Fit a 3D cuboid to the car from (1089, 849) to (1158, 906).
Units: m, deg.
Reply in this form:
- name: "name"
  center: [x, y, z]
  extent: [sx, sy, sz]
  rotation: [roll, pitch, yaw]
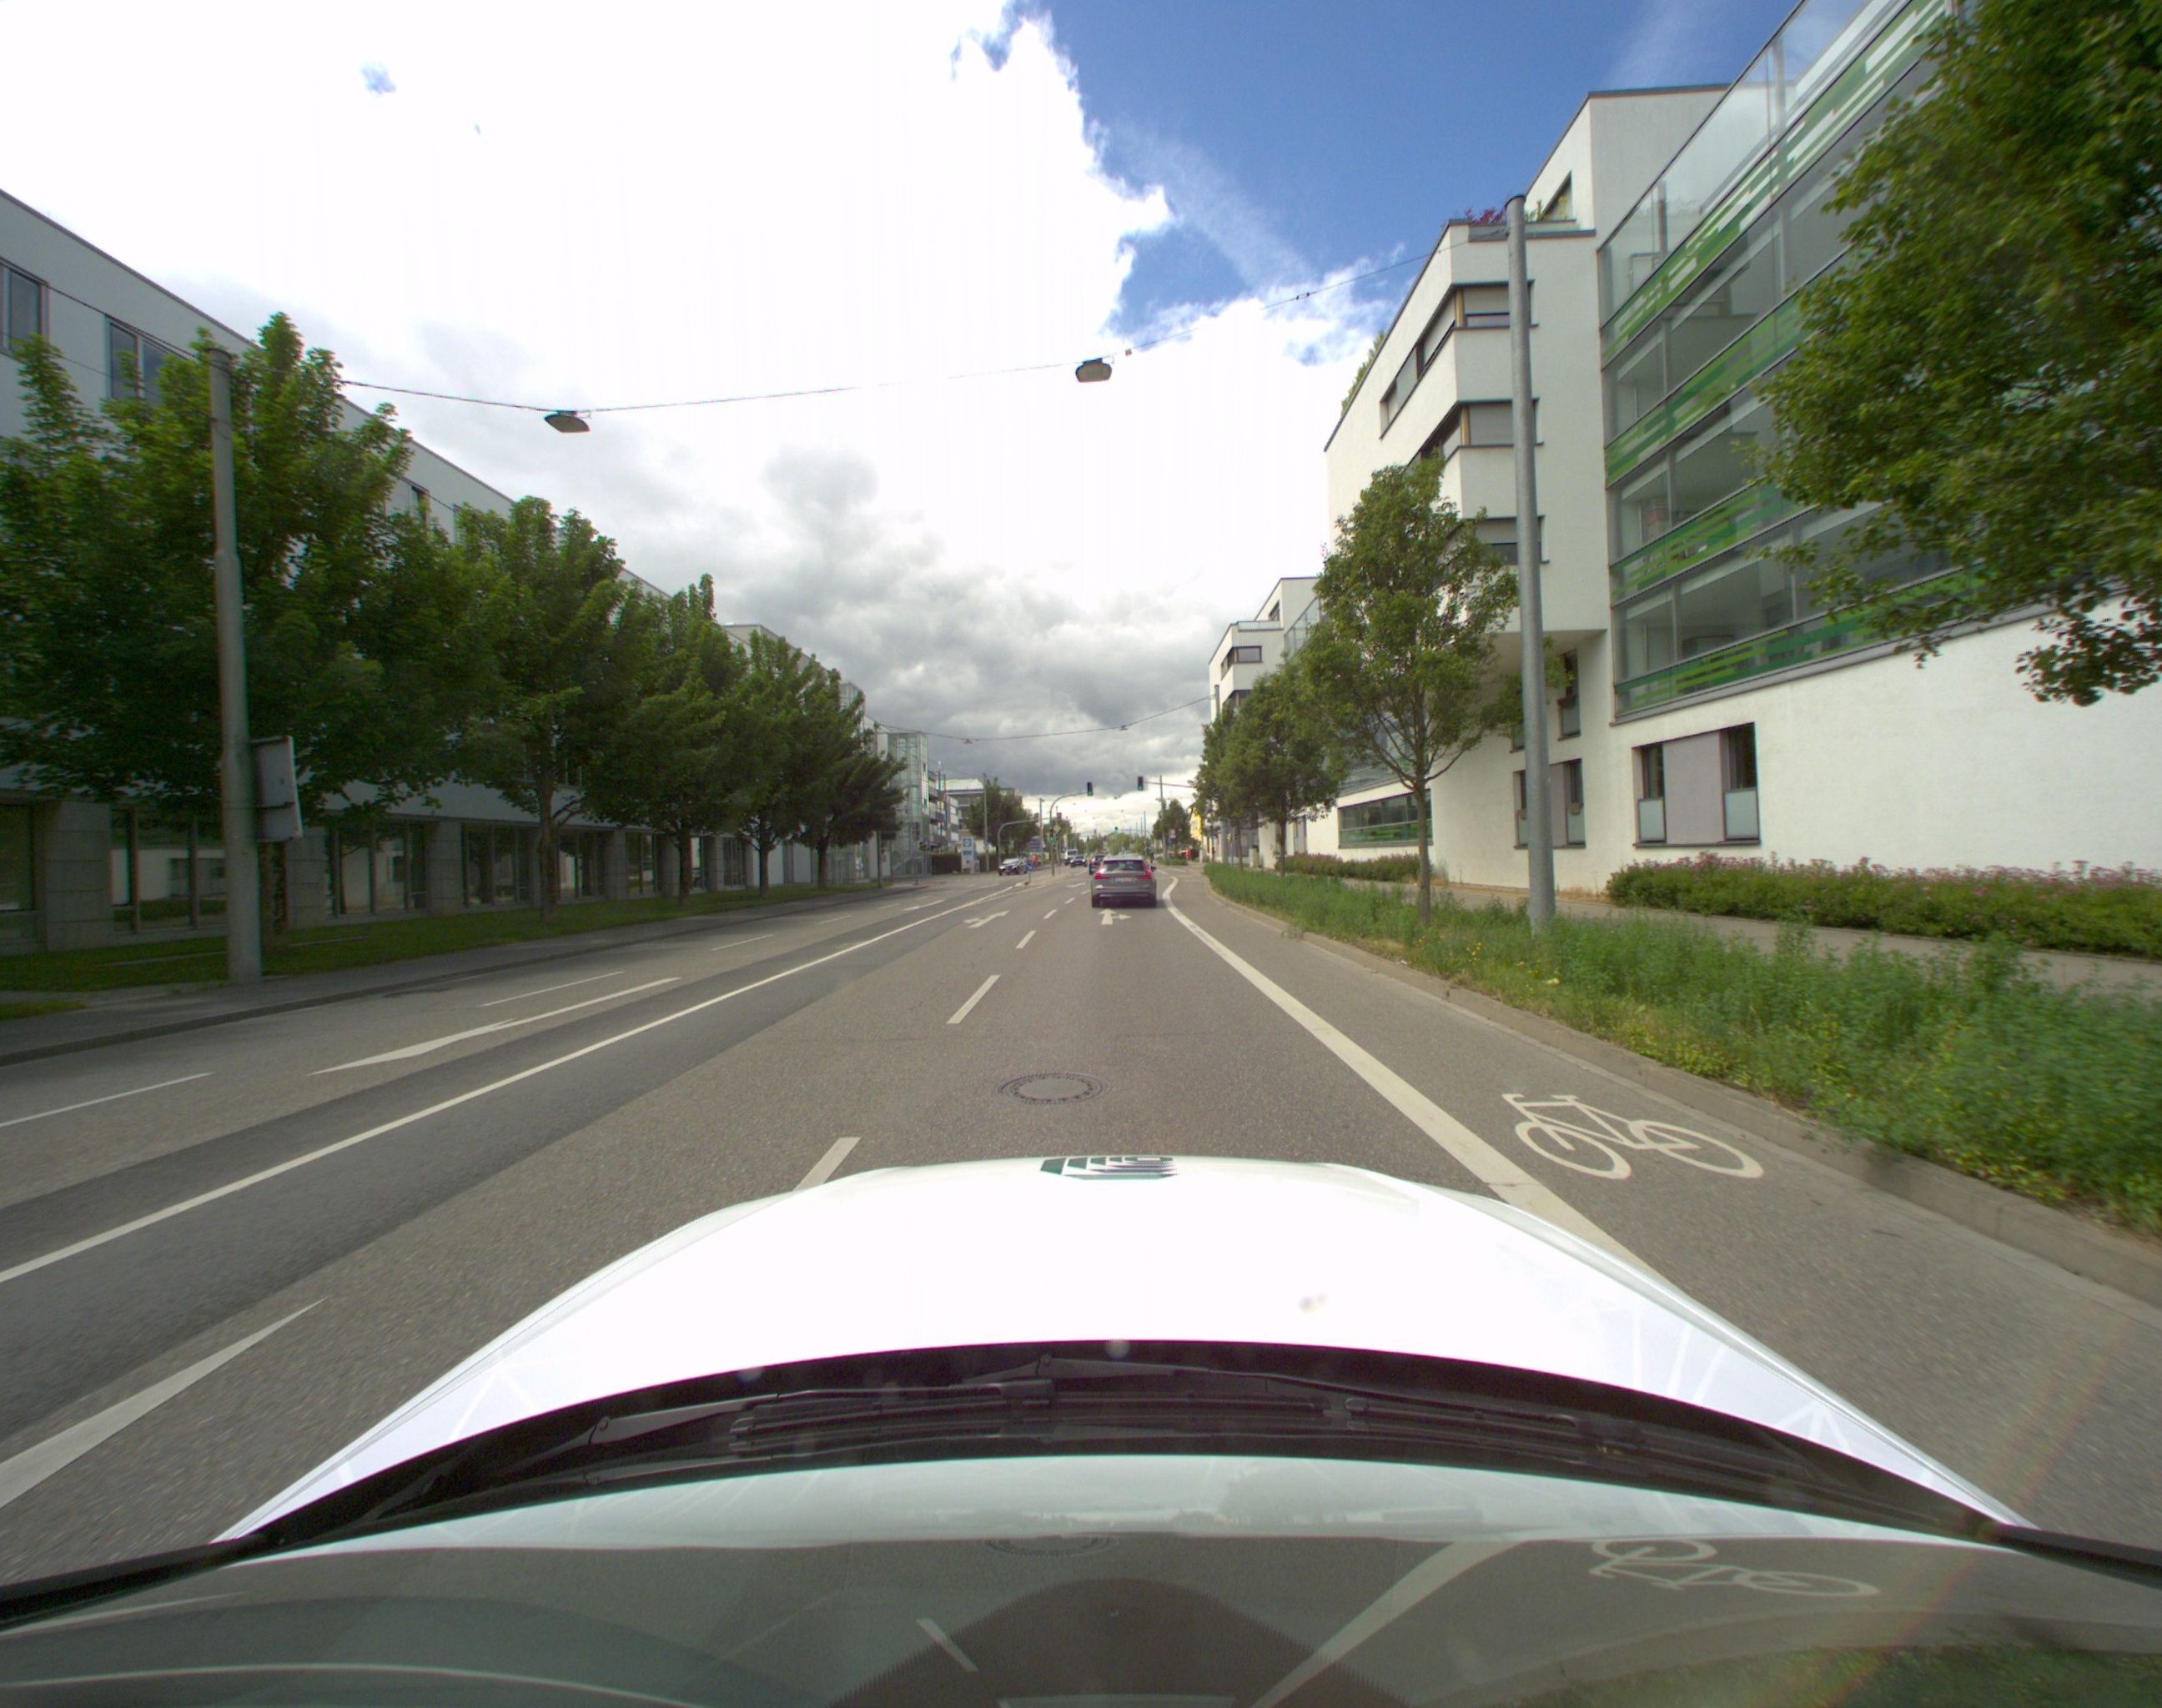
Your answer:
- name: "car"
  center: [1.316, 0.680, 24.357]
  extent: [1.887, 1.554, 4.005]
  rotation: [0, -1, 4]

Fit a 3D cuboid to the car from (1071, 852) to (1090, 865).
- name: "car"
  center: [-0.024, 0.586, 100.587]
  extent: [1.876, 1.552, 4.546]
  rotation: [-3, -1, 5]

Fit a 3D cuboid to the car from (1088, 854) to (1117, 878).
- name: "car"
  center: [1.544, 0.853, 59.469]
  extent: [1.987, 1.717, 4.000]
  rotation: [0, -1, 1]

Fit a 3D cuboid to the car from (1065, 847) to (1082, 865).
- name: "car"
  center: [-1.101, 0.320, 125.881]
  extent: [2.133, 2.471, 6.079]
  rotation: [-3, 0, 4]

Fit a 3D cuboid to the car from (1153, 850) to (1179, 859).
- name: "car"
  center: [15.695, 0.124, 150.980]
  extent: [4.678, 1.493, 2.047]
  rotation: [-1, 0, 2]

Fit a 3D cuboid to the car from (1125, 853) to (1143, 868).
- name: "car"
  center: [6.108, 0.745, 94.970]
  extent: [1.986, 1.695, 4.002]
  rotation: [0, -1, 2]

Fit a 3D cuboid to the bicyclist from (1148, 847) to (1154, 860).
- name: "bicyclist"
  center: [9.680, -0.057, 111.996]
  extent: [0.635, 1.675, 0.891]
  rotation: [-5, 0, 3]

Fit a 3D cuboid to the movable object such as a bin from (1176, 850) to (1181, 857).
- name: "movable object such as a bin"
  center: [14.671, -0.036, 122.828]
  extent: [0.561, 1.026, 0.408]
  rotation: [-3, -2, 40]

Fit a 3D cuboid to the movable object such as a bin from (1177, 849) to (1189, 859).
- name: "movable object such as a bin"
  center: [15.345, -0.042, 122.217]
  extent: [1.306, 1.435, 1.259]
  rotation: [-3, -2, 40]

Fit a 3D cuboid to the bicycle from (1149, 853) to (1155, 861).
- name: "bicycle"
  center: [9.726, 0.429, 112.003]
  extent: [0.635, 1.063, 1.979]
  rotation: [-5, 0, 3]

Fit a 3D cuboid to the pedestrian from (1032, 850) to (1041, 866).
- name: "pedestrian"
  center: [-5.582, 0.450, 102.651]
  extent: [0.815, 2.014, 0.717]
  rotation: [1, -1, -45]

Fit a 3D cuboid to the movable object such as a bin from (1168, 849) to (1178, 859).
- name: "movable object such as a bin"
  center: [13.795, -0.001, 121.961]
  extent: [1.308, 1.361, 1.257]
  rotation: [-2, -2, 19]

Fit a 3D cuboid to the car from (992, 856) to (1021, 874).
- name: "car"
  center: [-6.780, 1.010, 74.561]
  extent: [2.017, 1.445, 5.050]
  rotation: [-4, -1, 1]

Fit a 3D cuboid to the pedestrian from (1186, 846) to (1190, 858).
- name: "pedestrian"
  center: [15.758, -0.268, 120.198]
  extent: [0.503, 1.765, 0.503]
  rotation: [0, -1, 19]
